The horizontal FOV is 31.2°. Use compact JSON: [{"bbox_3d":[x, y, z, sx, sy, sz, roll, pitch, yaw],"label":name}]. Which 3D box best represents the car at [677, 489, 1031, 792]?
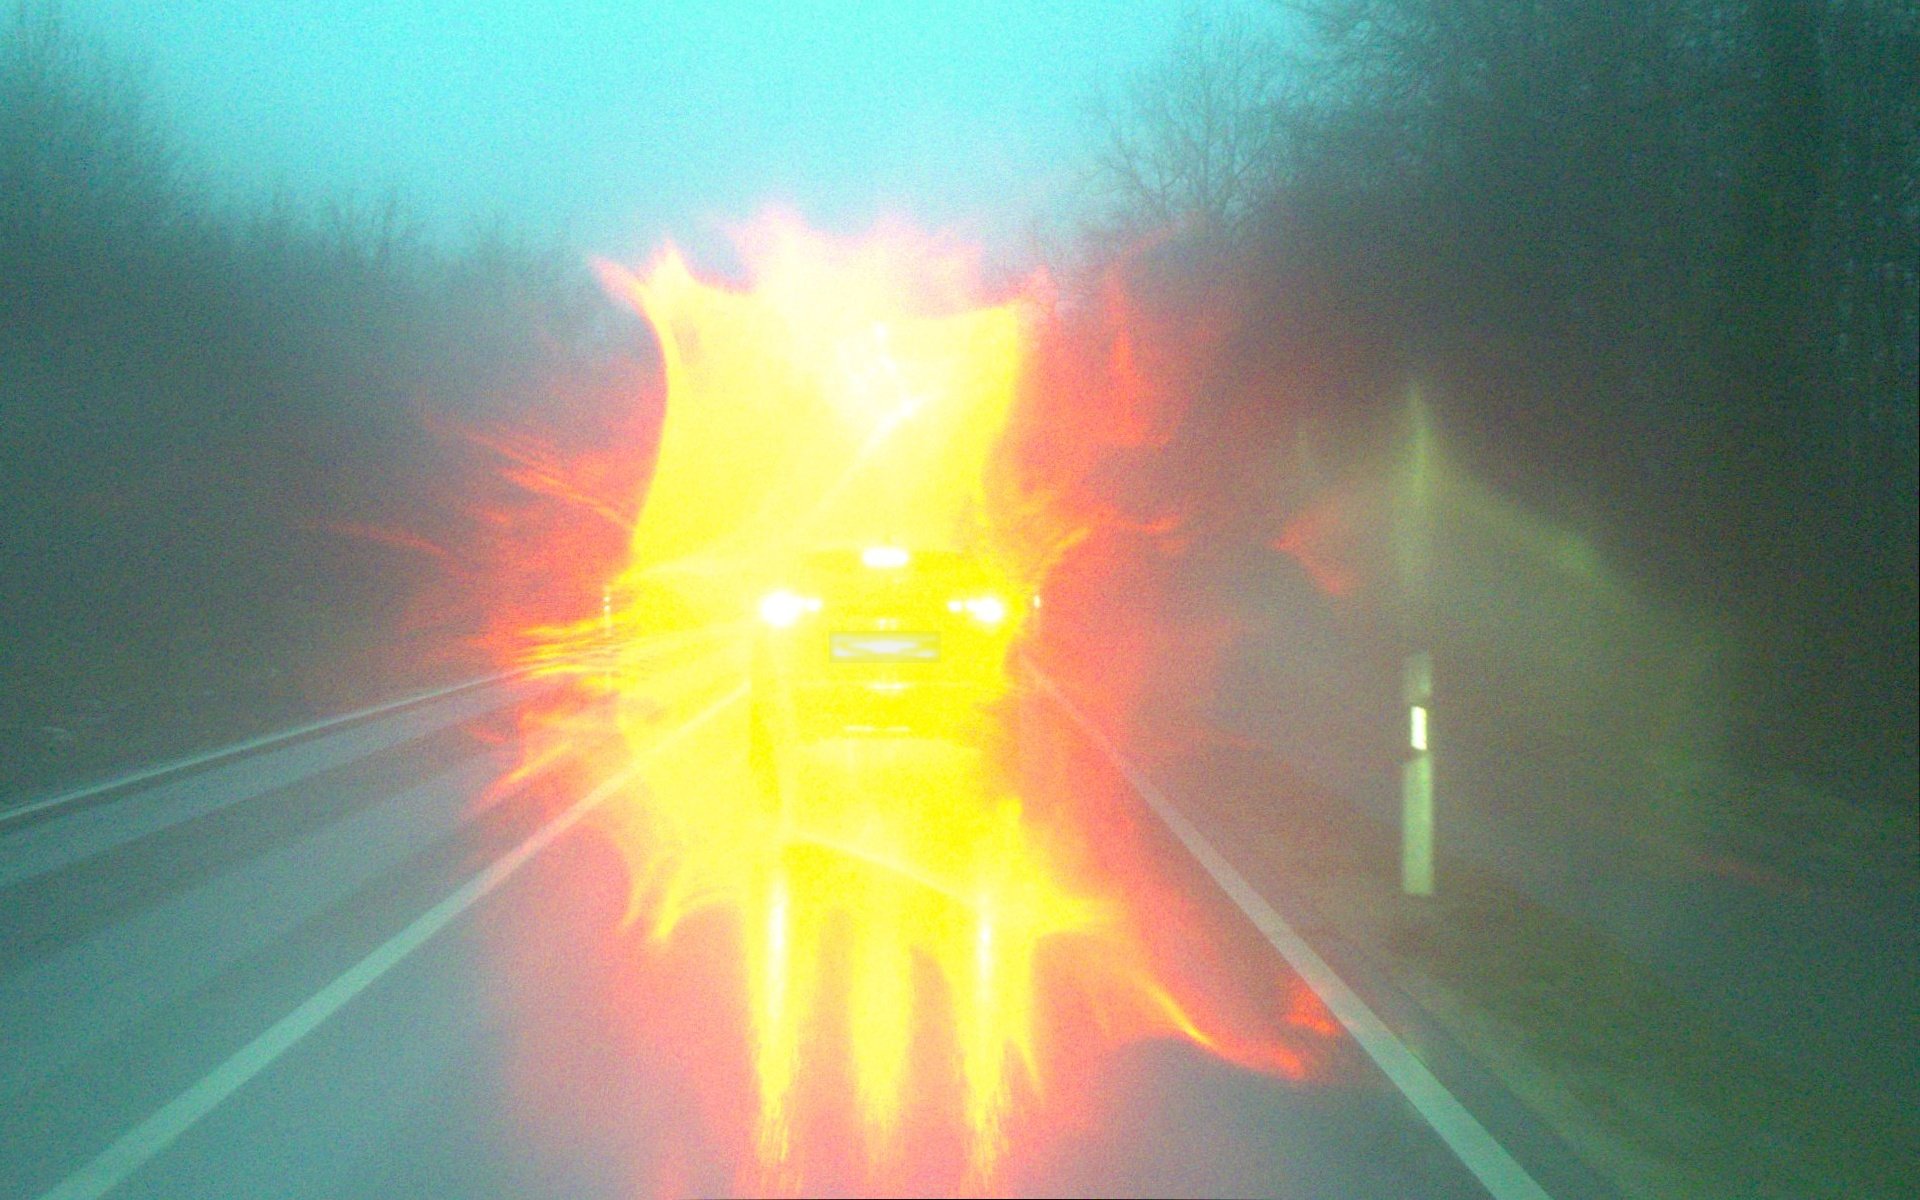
[{"bbox_3d":[-0.711,0.222,24.143,2.198,1.871,4.827,1,1,-1],"label":"car"}]
